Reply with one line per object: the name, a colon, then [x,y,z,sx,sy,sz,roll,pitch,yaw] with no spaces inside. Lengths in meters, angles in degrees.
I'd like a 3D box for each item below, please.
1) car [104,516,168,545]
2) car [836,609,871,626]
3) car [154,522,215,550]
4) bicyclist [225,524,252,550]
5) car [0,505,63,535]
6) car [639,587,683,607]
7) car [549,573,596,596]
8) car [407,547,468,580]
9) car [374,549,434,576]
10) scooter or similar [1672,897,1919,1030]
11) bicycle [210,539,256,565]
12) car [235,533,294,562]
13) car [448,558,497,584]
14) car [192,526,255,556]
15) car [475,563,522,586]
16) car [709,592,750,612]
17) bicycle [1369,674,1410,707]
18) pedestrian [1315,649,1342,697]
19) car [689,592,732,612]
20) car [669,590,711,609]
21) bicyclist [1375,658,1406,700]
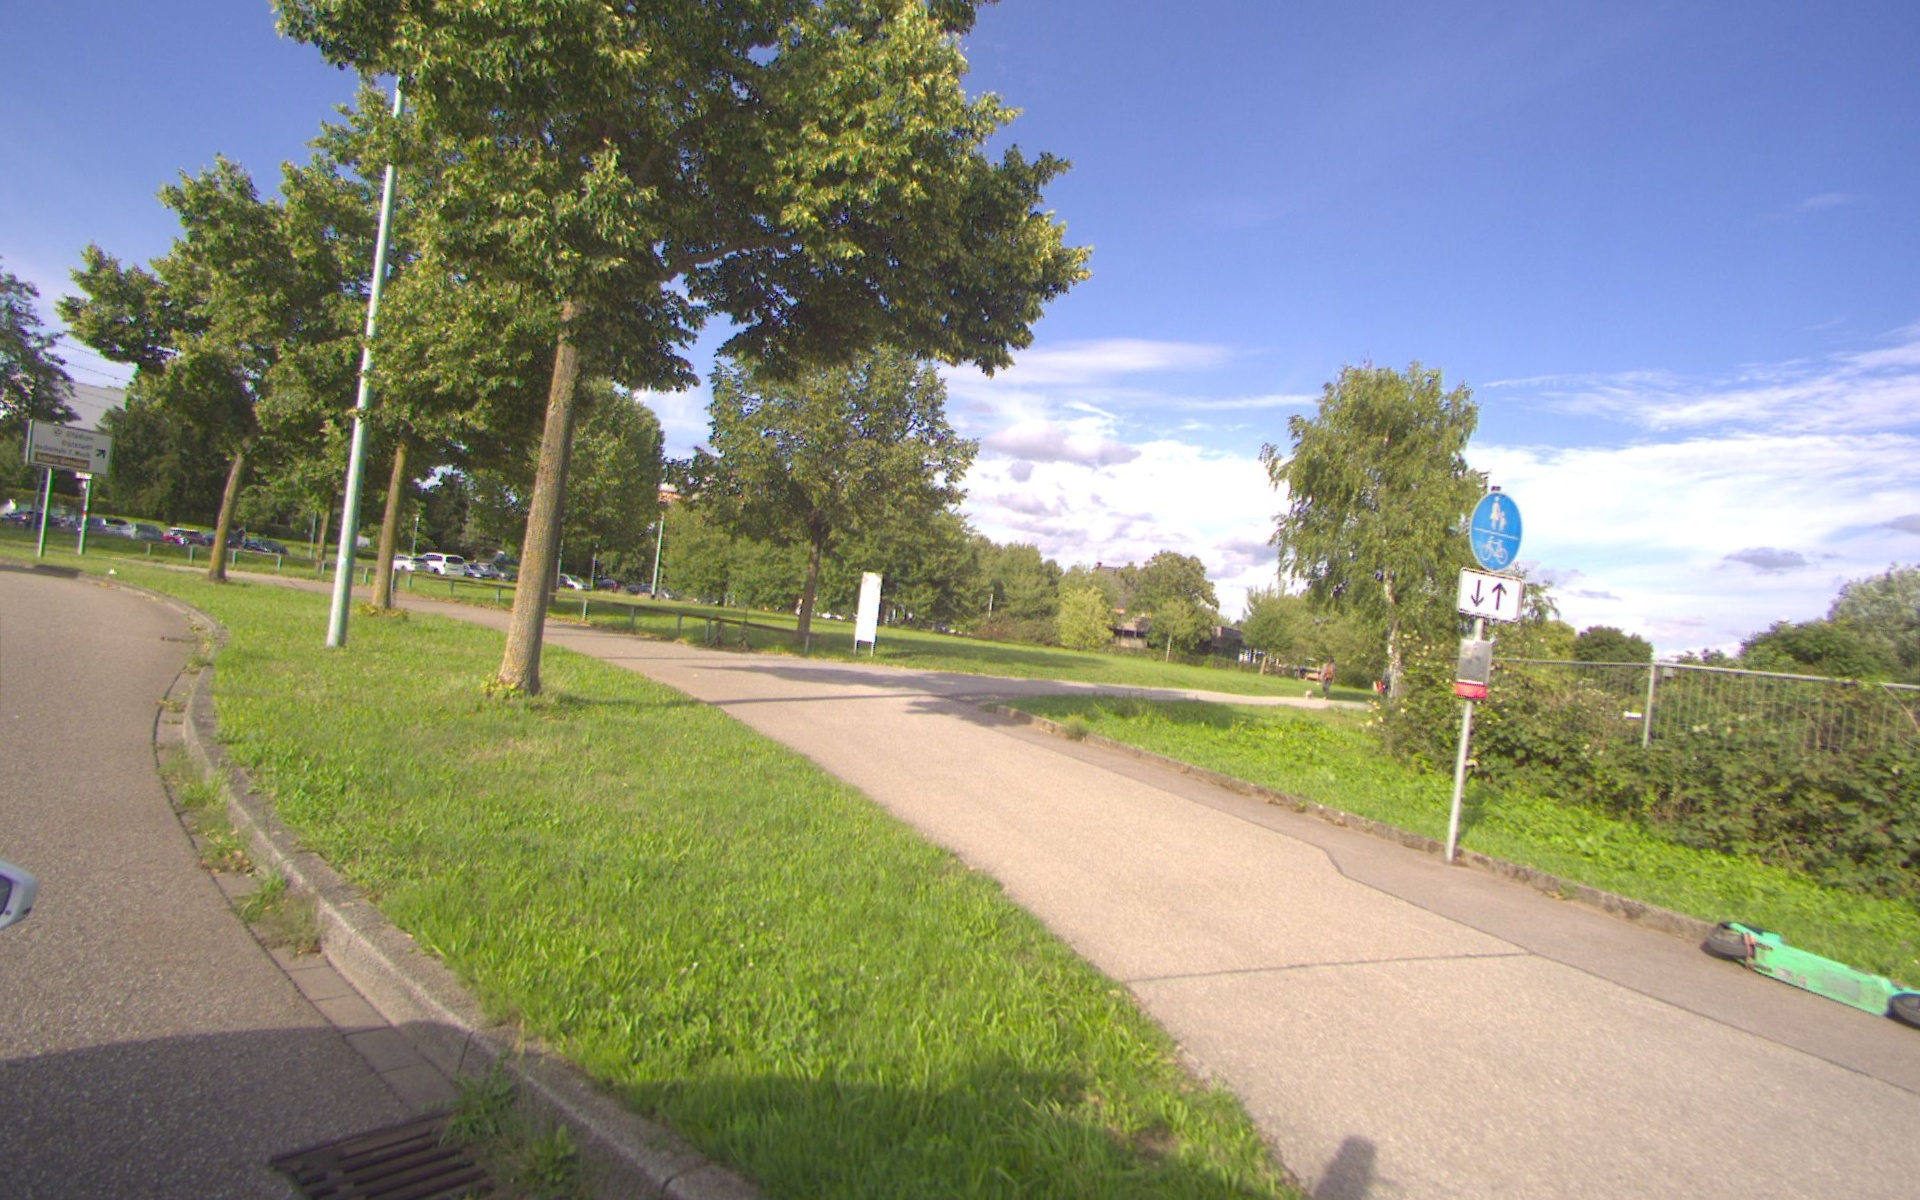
car: [-52.501,-4.427,64.094,4.757,1.374,1.856,6,-1,35]
car: [-13.226,2.186,124.838,1.849,1.559,4.412,7,-1,-45]
car: [-51.008,-4.192,66.156,4.398,1.379,1.856,6,-1,35]
bicyclist: [-42.867,-3.728,59.751,0.701,1.371,1.006,7,0,3]
car: [-54.980,-4.741,59.407,4.659,1.375,1.856,6,-1,35]
car: [-29.547,-0.313,99.520,4.402,1.559,1.853,6,-1,38]
car: [-34.994,-1.411,90.742,4.402,1.522,1.855,6,-1,38]
car: [-41.755,-2.928,80.394,5.037,2.031,2.309,6,-1,38]
car: [-43.059,-2.914,77.912,4.391,1.534,1.859,6,-1,27]
scooter or similar: [5.082,1.995,5.451,1.275,0.284,1.546,8,-1,-21]
bicycle: [-43.033,-2.832,59.573,0.701,1.237,2.530,7,-1,3]
car: [-48.494,-3.653,70.142,4.398,1.534,1.856,6,-1,35]
car: [-40.255,-2.437,83.066,4.409,1.694,2.093,6,-1,43]
car: [-49.701,-3.973,67.839,4.867,1.534,1.856,6,-1,35]
car: [-38.935,-2.147,84.824,4.057,1.534,2.027,6,-1,43]
car: [-24.645,0.219,107.456,4.402,1.559,1.853,6,-1,38]
bicycle: [16.976,3.590,39.728,0.792,1.139,2.593,6,-1,37]
pedestrian: [14.210,2.805,38.762,0.658,1.753,0.594,6,0,40]
car: [-26.072,0.199,105.053,4.402,1.559,1.853,6,-1,38]
car: [-27.633,-0.087,102.942,4.402,1.471,1.853,6,-1,38]
bicyclist: [16.937,3.109,39.596,0.792,1.566,0.901,6,0,38]
